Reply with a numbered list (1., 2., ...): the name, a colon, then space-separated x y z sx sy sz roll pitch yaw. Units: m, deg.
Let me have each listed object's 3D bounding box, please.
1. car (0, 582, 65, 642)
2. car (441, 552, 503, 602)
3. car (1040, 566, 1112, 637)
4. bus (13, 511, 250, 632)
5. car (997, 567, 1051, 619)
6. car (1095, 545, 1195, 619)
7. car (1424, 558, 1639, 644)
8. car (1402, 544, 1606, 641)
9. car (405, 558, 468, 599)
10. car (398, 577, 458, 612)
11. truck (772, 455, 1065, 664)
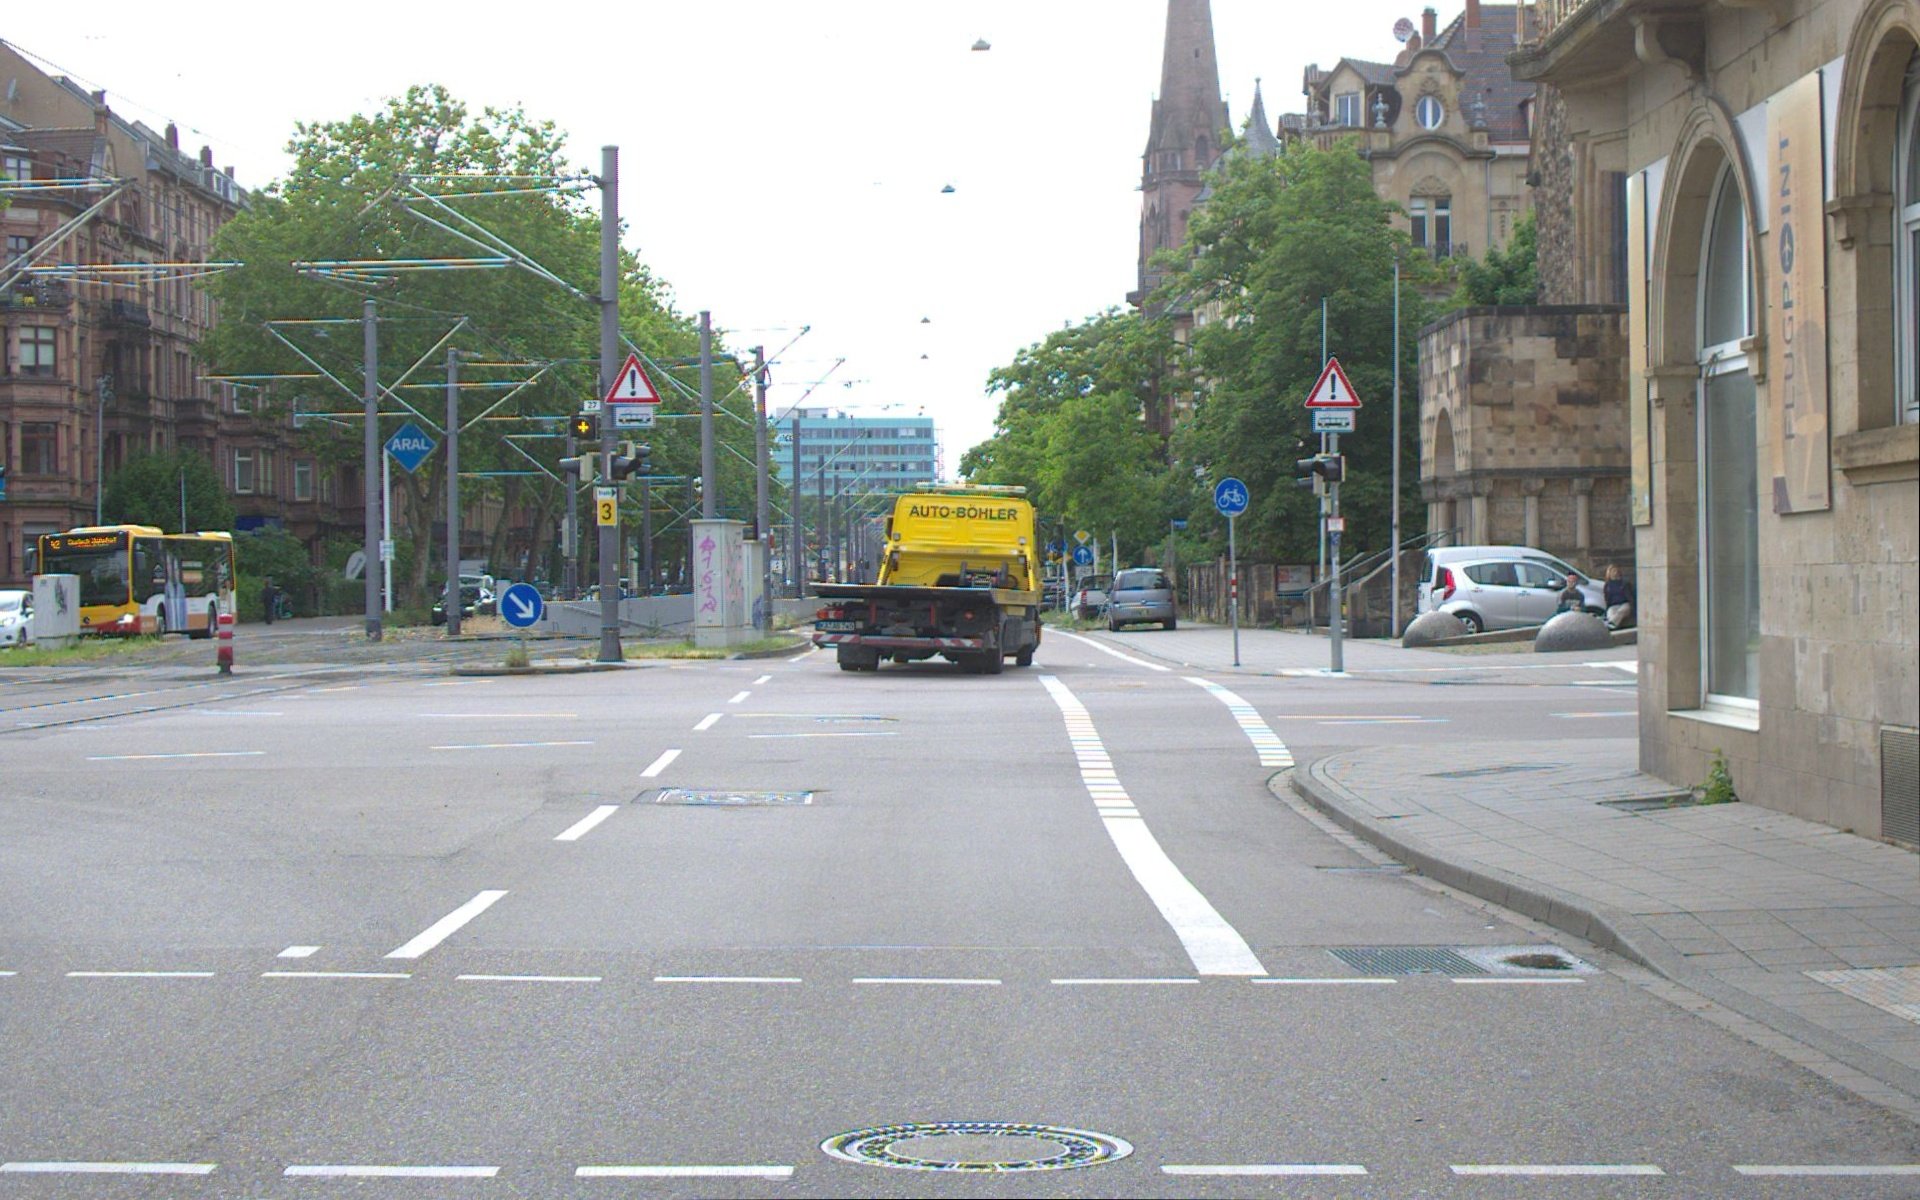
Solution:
1. car: -21.910 0.253 79.037 1.656 1.316 3.638 1 1 1
2. car: -20.080 -0.970 141.570 1.993 2.007 4.000 1 1 -1
3. car: 3.342 0.025 99.600 1.993 2.007 4.000 1 1 1
4. bus: -22.385 -0.782 93.765 3.231 3.025 12.311 1 1 1
5. car: 2.533 -0.287 136.184 1.993 2.007 4.000 1 1 -1
6. car: 4.867 -0.478 89.977 1.994 1.849 4.024 1 1 12
7. car: 10.765 0.012 64.983 3.713 1.558 2.000 1 0 0
8. car: 10.793 -0.165 68.398 3.713 1.849 2.000 1 0 0
9. car: -21.540 -0.889 141.512 1.993 1.605 4.000 1 1 -1
10. car: -20.311 -0.218 131.393 1.656 1.316 3.638 1 1 1
11. truck: -0.410 -0.597 50.577 3.056 2.759 9.813 0 1 7
